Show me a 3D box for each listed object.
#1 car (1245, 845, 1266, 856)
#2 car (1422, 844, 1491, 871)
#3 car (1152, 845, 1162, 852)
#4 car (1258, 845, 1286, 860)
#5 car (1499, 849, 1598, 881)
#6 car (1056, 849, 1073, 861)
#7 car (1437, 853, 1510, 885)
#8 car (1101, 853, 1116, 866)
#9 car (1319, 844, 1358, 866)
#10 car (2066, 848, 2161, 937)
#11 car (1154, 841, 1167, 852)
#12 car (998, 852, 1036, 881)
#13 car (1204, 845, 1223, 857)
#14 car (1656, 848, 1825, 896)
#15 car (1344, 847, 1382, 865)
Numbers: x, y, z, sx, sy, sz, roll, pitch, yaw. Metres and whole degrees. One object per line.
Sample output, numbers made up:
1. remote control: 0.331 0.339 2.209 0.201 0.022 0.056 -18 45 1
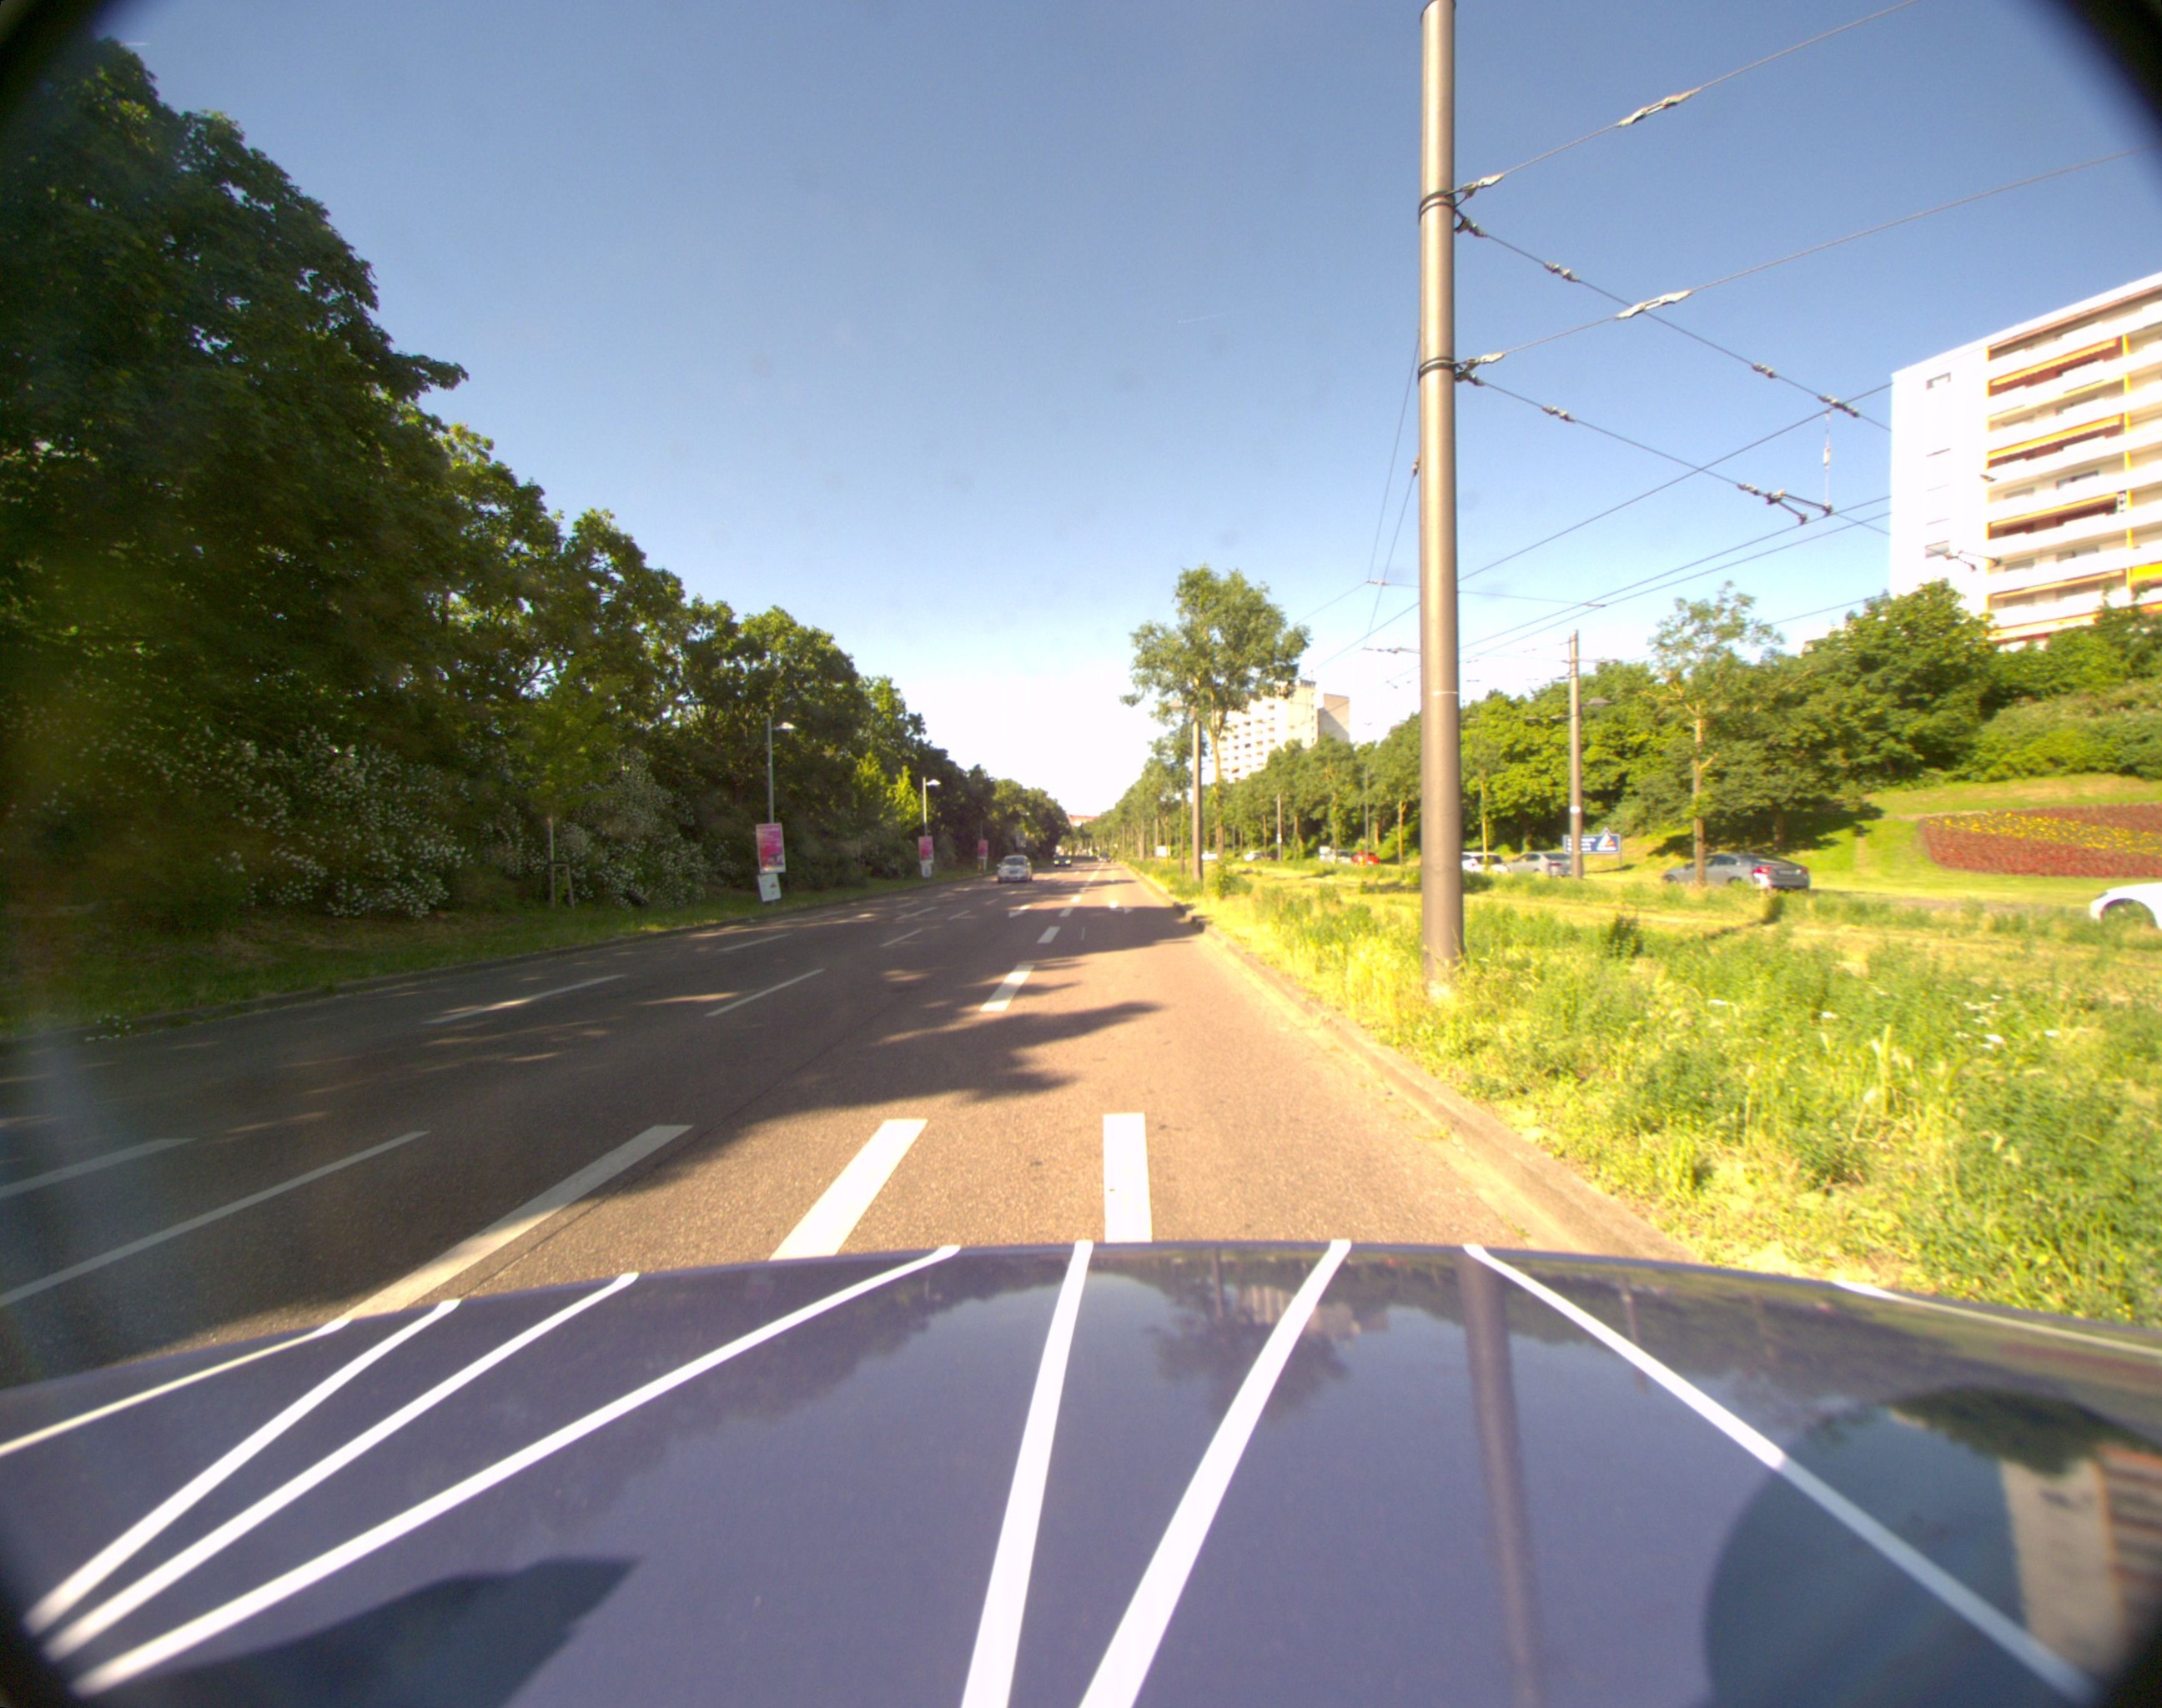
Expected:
1. car: 22.804 -0.468 99.424 1.904 1.390 4.543 -2 1 2
2. car: 22.573 0.188 45.903 1.998 1.472 4.631 -2 1 2
3. car: 17.893 -1.361 179.701 1.998 1.575 5.272 -2 1 2
4. car: 20.561 -0.178 82.115 1.998 1.401 4.991 -2 1 4
5. car: 22.489 0.466 36.783 1.998 1.424 4.693 0 1 2
6. car: -1.944 0.125 88.790 1.831 1.400 4.216 -1 0 1
7. car: 18.952 0.724 36.880 1.592 1.464 4.184 1 -1 3
8. car: 3.848 0.742 107.488 1.998 1.696 3.999 -2 1 1
9. car: 19.257 0.063 56.898 1.767 1.599 3.758 0 1 2
10. car: 18.072 0.638 10.983 1.707 1.415 4.643 0 1 2
11. car: 16.979 -1.586 162.484 2.044 2.355 6.880 -2 1 2
12. car: -3.835 0.733 46.018 1.672 1.531 4.060 -3 0 3
13. car: 19.528 -0.457 111.981 1.899 1.612 4.656 -2 1 0
14. car: 21.928 0.534 25.542 1.998 1.366 4.400 -2 1 3
15. car: 22.625 0.152 61.149 1.661 1.290 4.177 -2 1 3
